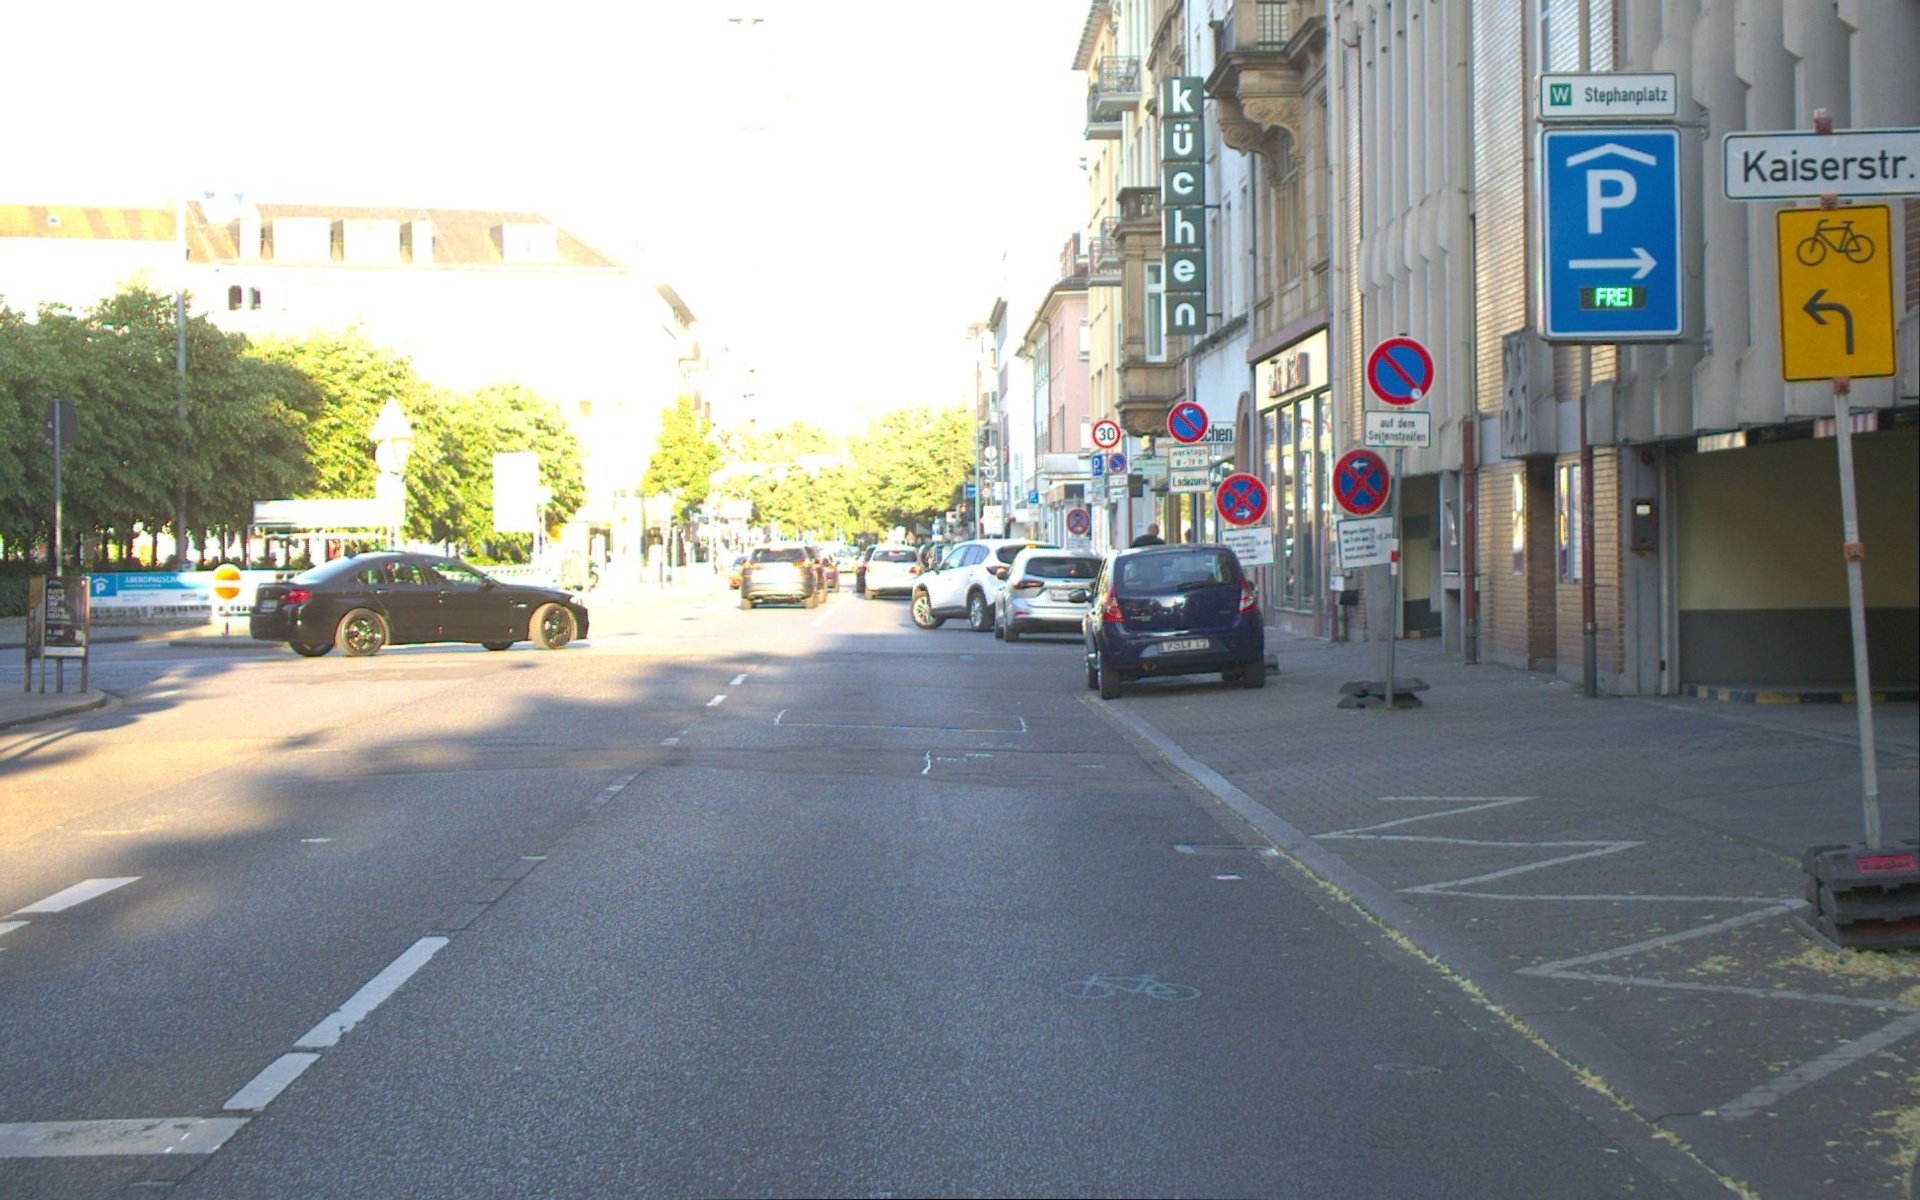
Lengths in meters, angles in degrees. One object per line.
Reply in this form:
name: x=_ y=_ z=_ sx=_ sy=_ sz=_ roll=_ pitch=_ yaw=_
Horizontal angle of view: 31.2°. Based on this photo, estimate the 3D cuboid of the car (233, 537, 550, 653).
car: x=-8.061 y=-0.063 z=48.813 sx=3.987 sy=1.576 sz=1.903 roll=1 pitch=1 yaw=-34

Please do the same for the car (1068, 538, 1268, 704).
car: x=2.123 y=0.174 z=36.048 sx=1.759 sy=1.531 sz=4.000 roll=-4 pitch=1 yaw=0

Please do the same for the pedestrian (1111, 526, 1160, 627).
pedestrian: x=3.241 y=-0.445 z=63.558 sx=0.772 sy=1.821 sz=1.011 roll=-2 pitch=1 yaw=-2

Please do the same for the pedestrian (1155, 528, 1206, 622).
pedestrian: x=4.079 y=-0.471 z=63.638 sx=0.772 sy=1.705 sz=1.042 roll=-2 pitch=1 yaw=-2

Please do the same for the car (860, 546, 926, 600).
car: x=-2.017 y=-0.820 z=102.811 sx=1.896 sy=1.575 sz=4.000 roll=1 pitch=1 yaw=-2

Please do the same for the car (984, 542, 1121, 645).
car: x=1.416 y=-0.117 z=54.640 sx=1.759 sy=1.531 sz=4.822 roll=1 pitch=0 yaw=-3

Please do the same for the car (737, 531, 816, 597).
car: x=-4.663 y=-0.937 z=87.857 sx=1.896 sy=1.644 sz=4.105 roll=0 pitch=1 yaw=-2

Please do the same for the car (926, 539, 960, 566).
car: x=-1.035 y=-2.887 z=207.017 sx=1.896 sy=1.575 sz=3.852 roll=-1 pitch=1 yaw=-2

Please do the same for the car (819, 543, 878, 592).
car: x=-3.767 y=-1.110 z=116.382 sx=1.896 sy=1.575 sz=3.852 roll=2 pitch=1 yaw=-2

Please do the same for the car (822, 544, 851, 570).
car: x=-7.598 y=-2.653 z=211.244 sx=1.779 sy=1.542 sz=4.000 roll=0 pitch=1 yaw=-2

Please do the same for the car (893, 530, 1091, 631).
car: x=0.537 y=-0.374 z=63.115 sx=1.993 sy=1.755 sz=4.467 roll=-1 pitch=1 yaw=-23
